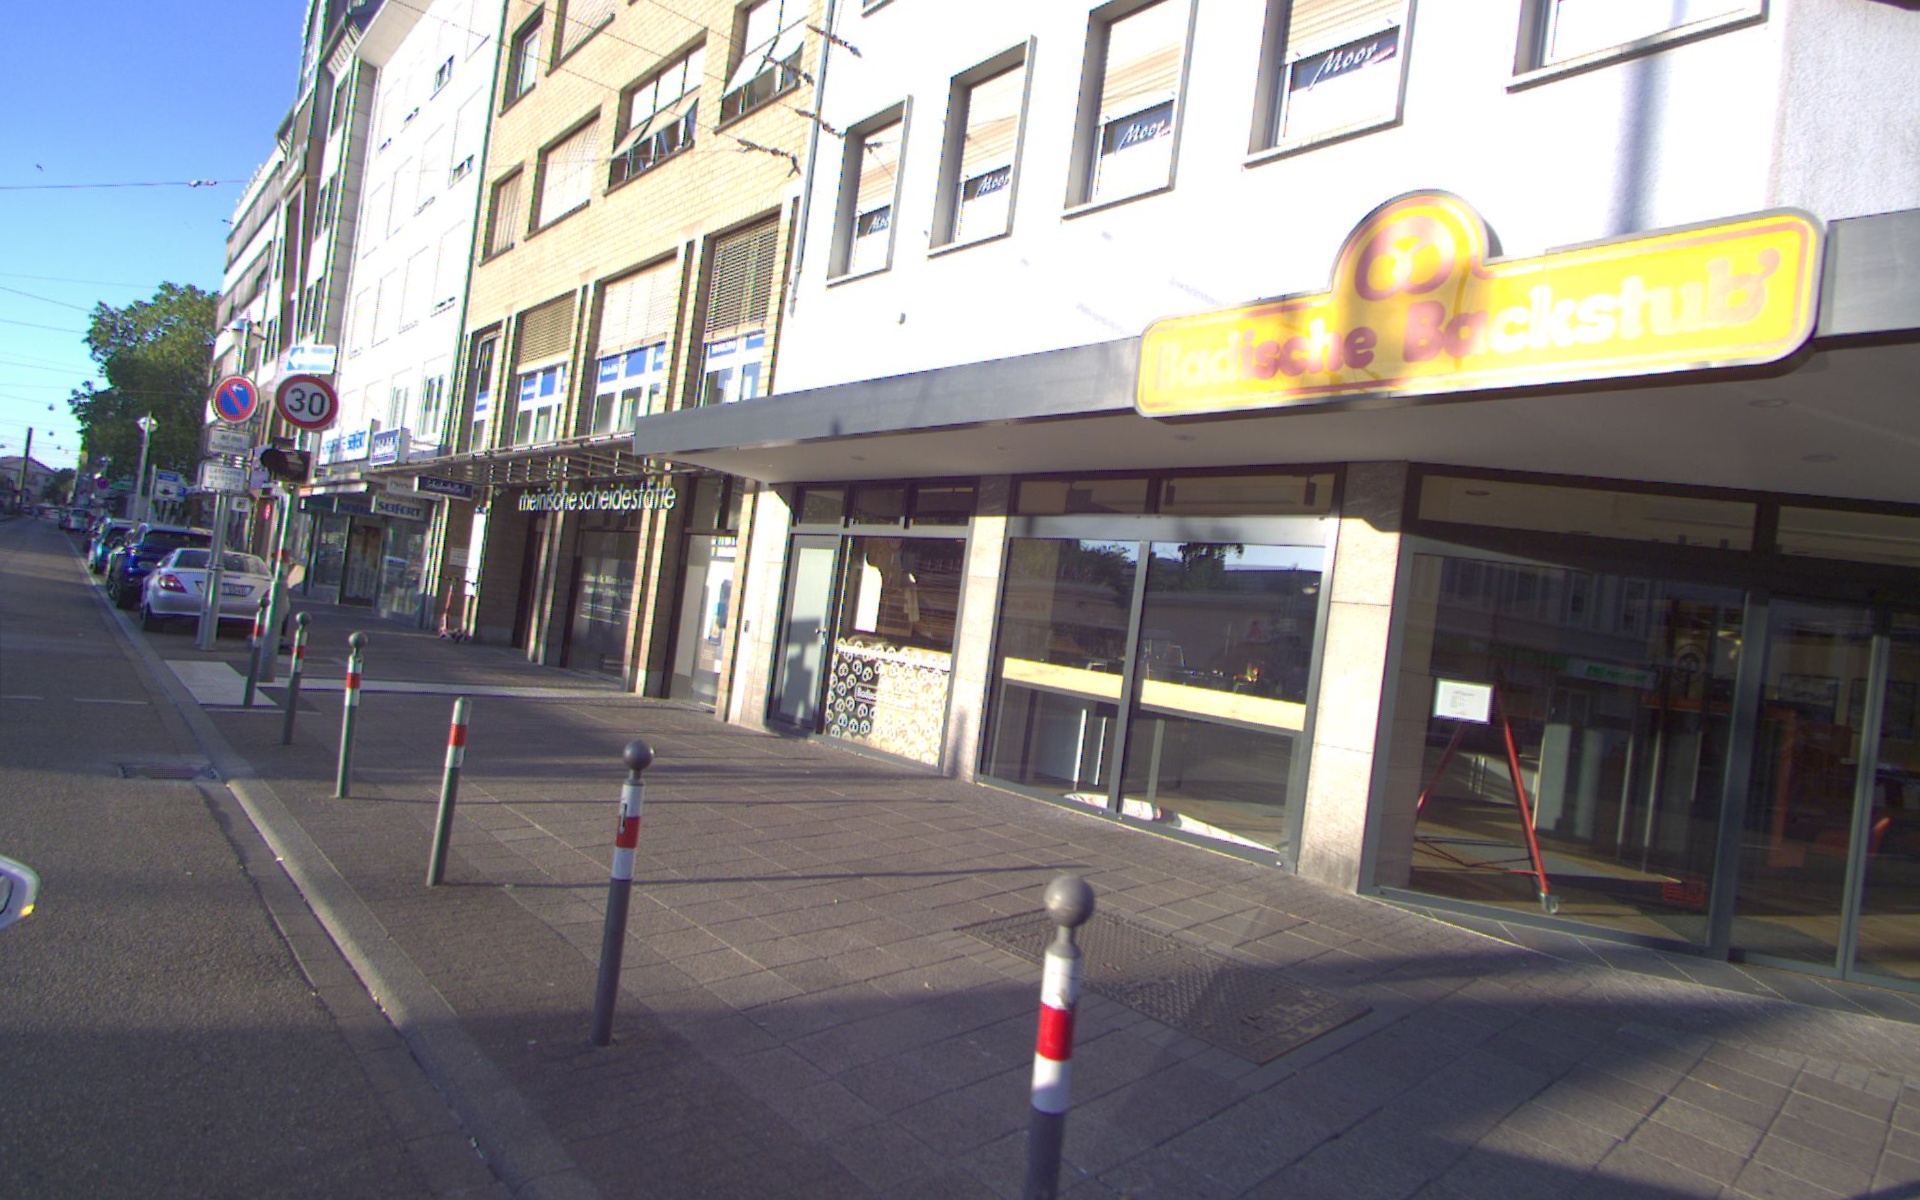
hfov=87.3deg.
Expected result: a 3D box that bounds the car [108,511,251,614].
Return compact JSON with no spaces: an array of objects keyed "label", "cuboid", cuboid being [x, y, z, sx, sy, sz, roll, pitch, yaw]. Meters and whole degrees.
[{"label":"car","cuboid":[-15.466,-0.785,19.844,1.760,1.623,4.236,9,-2,-42]}]

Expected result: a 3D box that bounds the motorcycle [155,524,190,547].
[{"label":"motorcycle","cuboid":[-49.050,-4.015,62.651,2.254,1.158,0.566,7,-2,22]}]

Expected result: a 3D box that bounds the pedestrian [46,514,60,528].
[{"label":"pedestrian","cuboid":[-144.816,-12.599,160.670,1.005,1.950,1.232,7,-2,32]}]

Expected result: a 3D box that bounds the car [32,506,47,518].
[{"label":"car","cuboid":[-161.763,-15.464,176.879,1.755,1.847,3.529,8,-4,-42]}]

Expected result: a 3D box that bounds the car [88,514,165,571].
[{"label":"car","cuboid":[-29.238,-2.040,35.249,1.811,1.604,4.669,9,-2,-41]}]

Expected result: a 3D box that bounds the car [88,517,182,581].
[{"label":"car","cuboid":[-25.083,-1.585,30.514,1.805,1.570,4.778,9,-2,-43]}]

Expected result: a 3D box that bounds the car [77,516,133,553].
[{"label":"car","cuboid":[-37.953,-2.905,44.623,1.648,1.398,4.288,4,1,-43]}]

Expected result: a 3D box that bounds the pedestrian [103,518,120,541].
[{"label":"pedestrian","cuboid":[-70.442,-5.828,83.546,0.882,1.771,0.786,4,-3,41]}]

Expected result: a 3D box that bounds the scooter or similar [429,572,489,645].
[{"label":"scooter or similar","cuboid":[-9.379,0.144,18.820,0.459,1.197,1.553,8,-1,-43]}]

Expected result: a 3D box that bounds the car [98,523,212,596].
[{"label":"car","cuboid":[-19.896,-1.004,24.804,1.726,1.451,4.103,9,-3,-43]}]

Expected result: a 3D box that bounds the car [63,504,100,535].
[{"label":"car","cuboid":[-67.594,-6.163,77.383,1.910,2.004,4.369,9,-2,-42]}]

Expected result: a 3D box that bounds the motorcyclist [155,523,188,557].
[{"label":"motorcyclist","cuboid":[-46.330,-3.536,59.108,0.943,1.834,1.005,5,-2,26]}]

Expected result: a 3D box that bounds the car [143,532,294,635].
[{"label":"car","cuboid":[-12.183,-0.316,16.423,1.667,1.297,4.020,9,-3,-39]}]

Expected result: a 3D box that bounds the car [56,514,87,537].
[{"label":"car","cuboid":[-84.341,-7.057,95.448,1.988,1.781,4.369,9,-3,-42]}]
